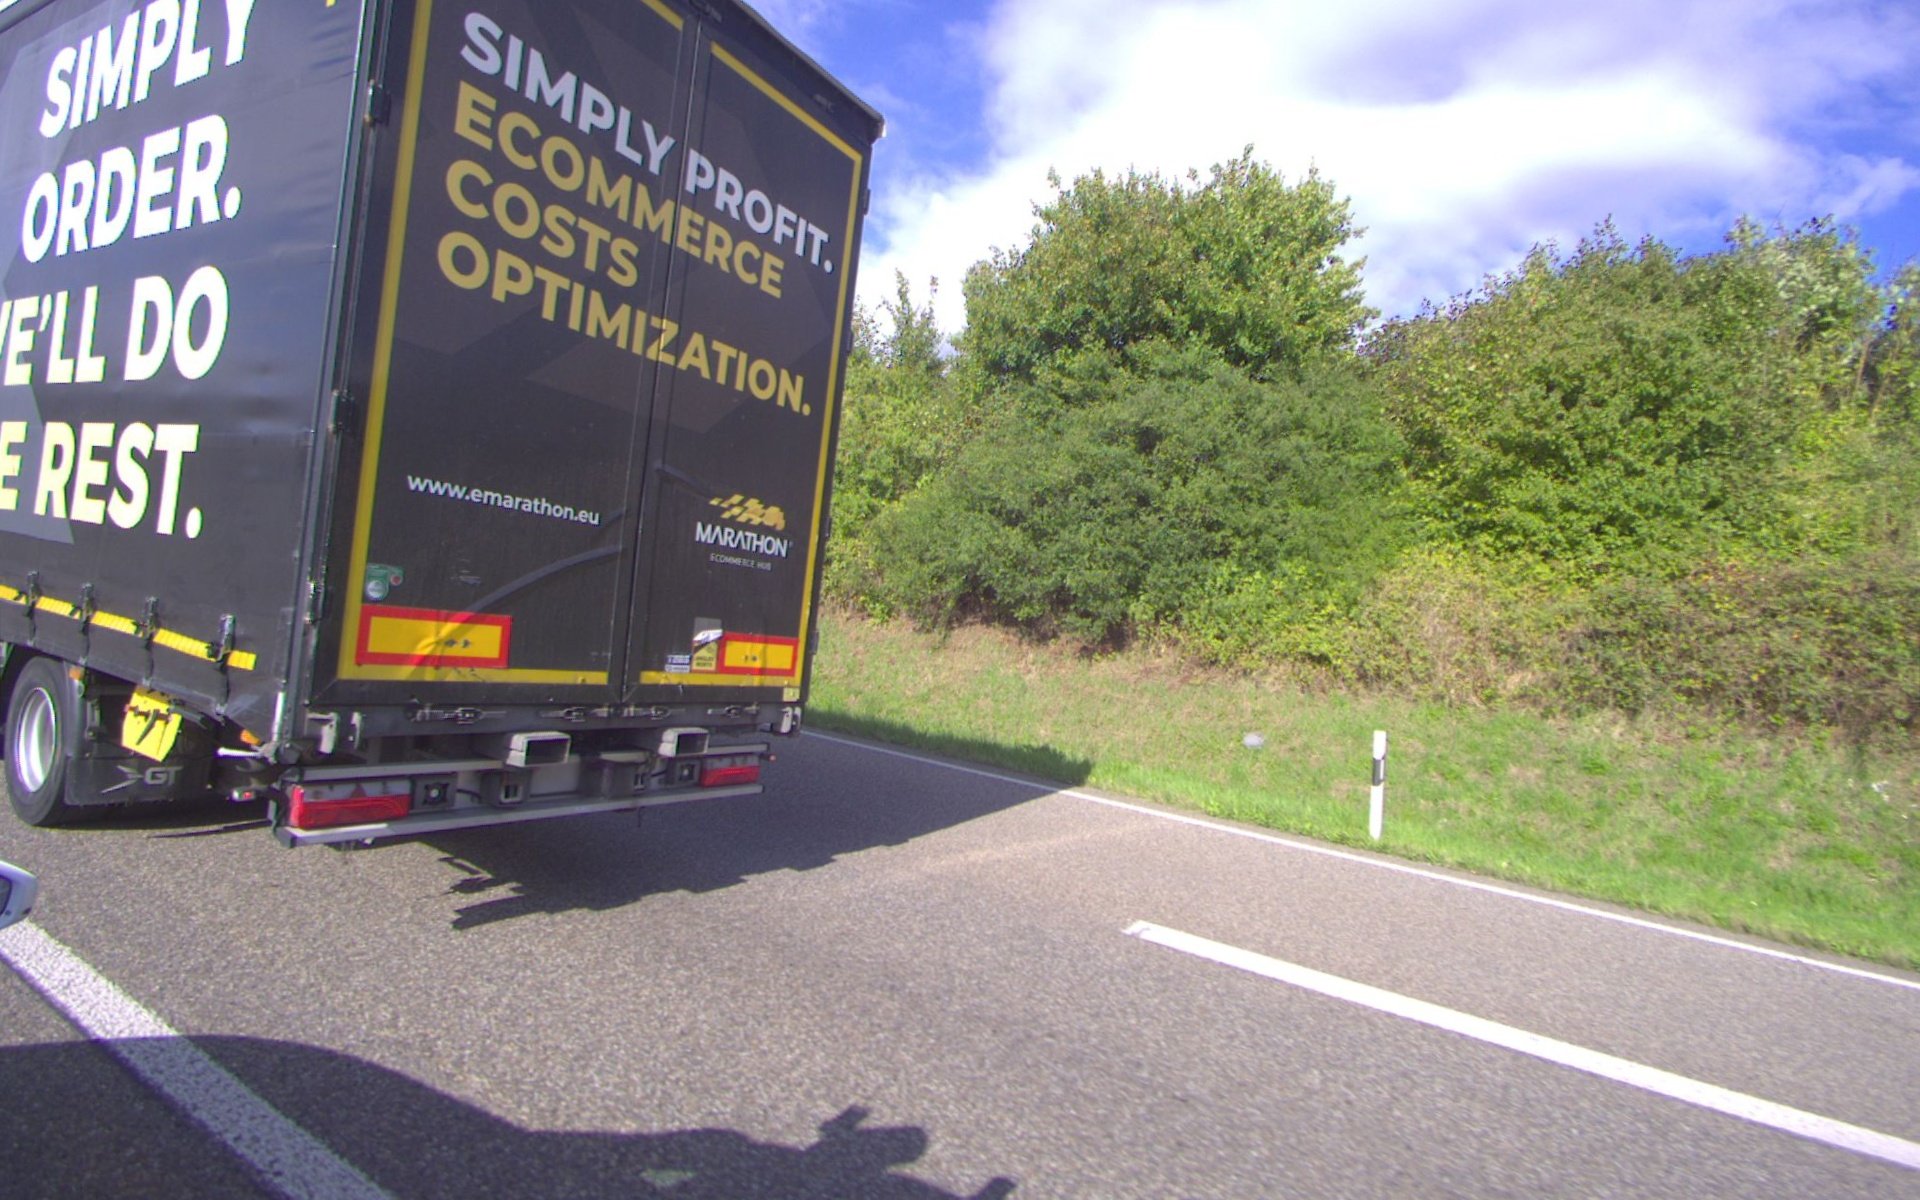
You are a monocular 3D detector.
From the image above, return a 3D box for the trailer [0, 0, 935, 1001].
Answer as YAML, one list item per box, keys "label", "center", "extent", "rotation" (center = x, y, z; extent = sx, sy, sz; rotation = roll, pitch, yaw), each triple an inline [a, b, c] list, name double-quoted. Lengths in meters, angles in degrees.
- label: "trailer"
  center: [-4.716, -1.136, 6.296]
  extent: [8.565, 4.006, 2.722]
  rotation: [7, -2, 31]

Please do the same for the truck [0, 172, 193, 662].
- label: "truck"
  center: [-12.622, -2.049, 11.075]
  extent: [10.032, 4.084, 2.747]
  rotation: [6, -2, 31]
